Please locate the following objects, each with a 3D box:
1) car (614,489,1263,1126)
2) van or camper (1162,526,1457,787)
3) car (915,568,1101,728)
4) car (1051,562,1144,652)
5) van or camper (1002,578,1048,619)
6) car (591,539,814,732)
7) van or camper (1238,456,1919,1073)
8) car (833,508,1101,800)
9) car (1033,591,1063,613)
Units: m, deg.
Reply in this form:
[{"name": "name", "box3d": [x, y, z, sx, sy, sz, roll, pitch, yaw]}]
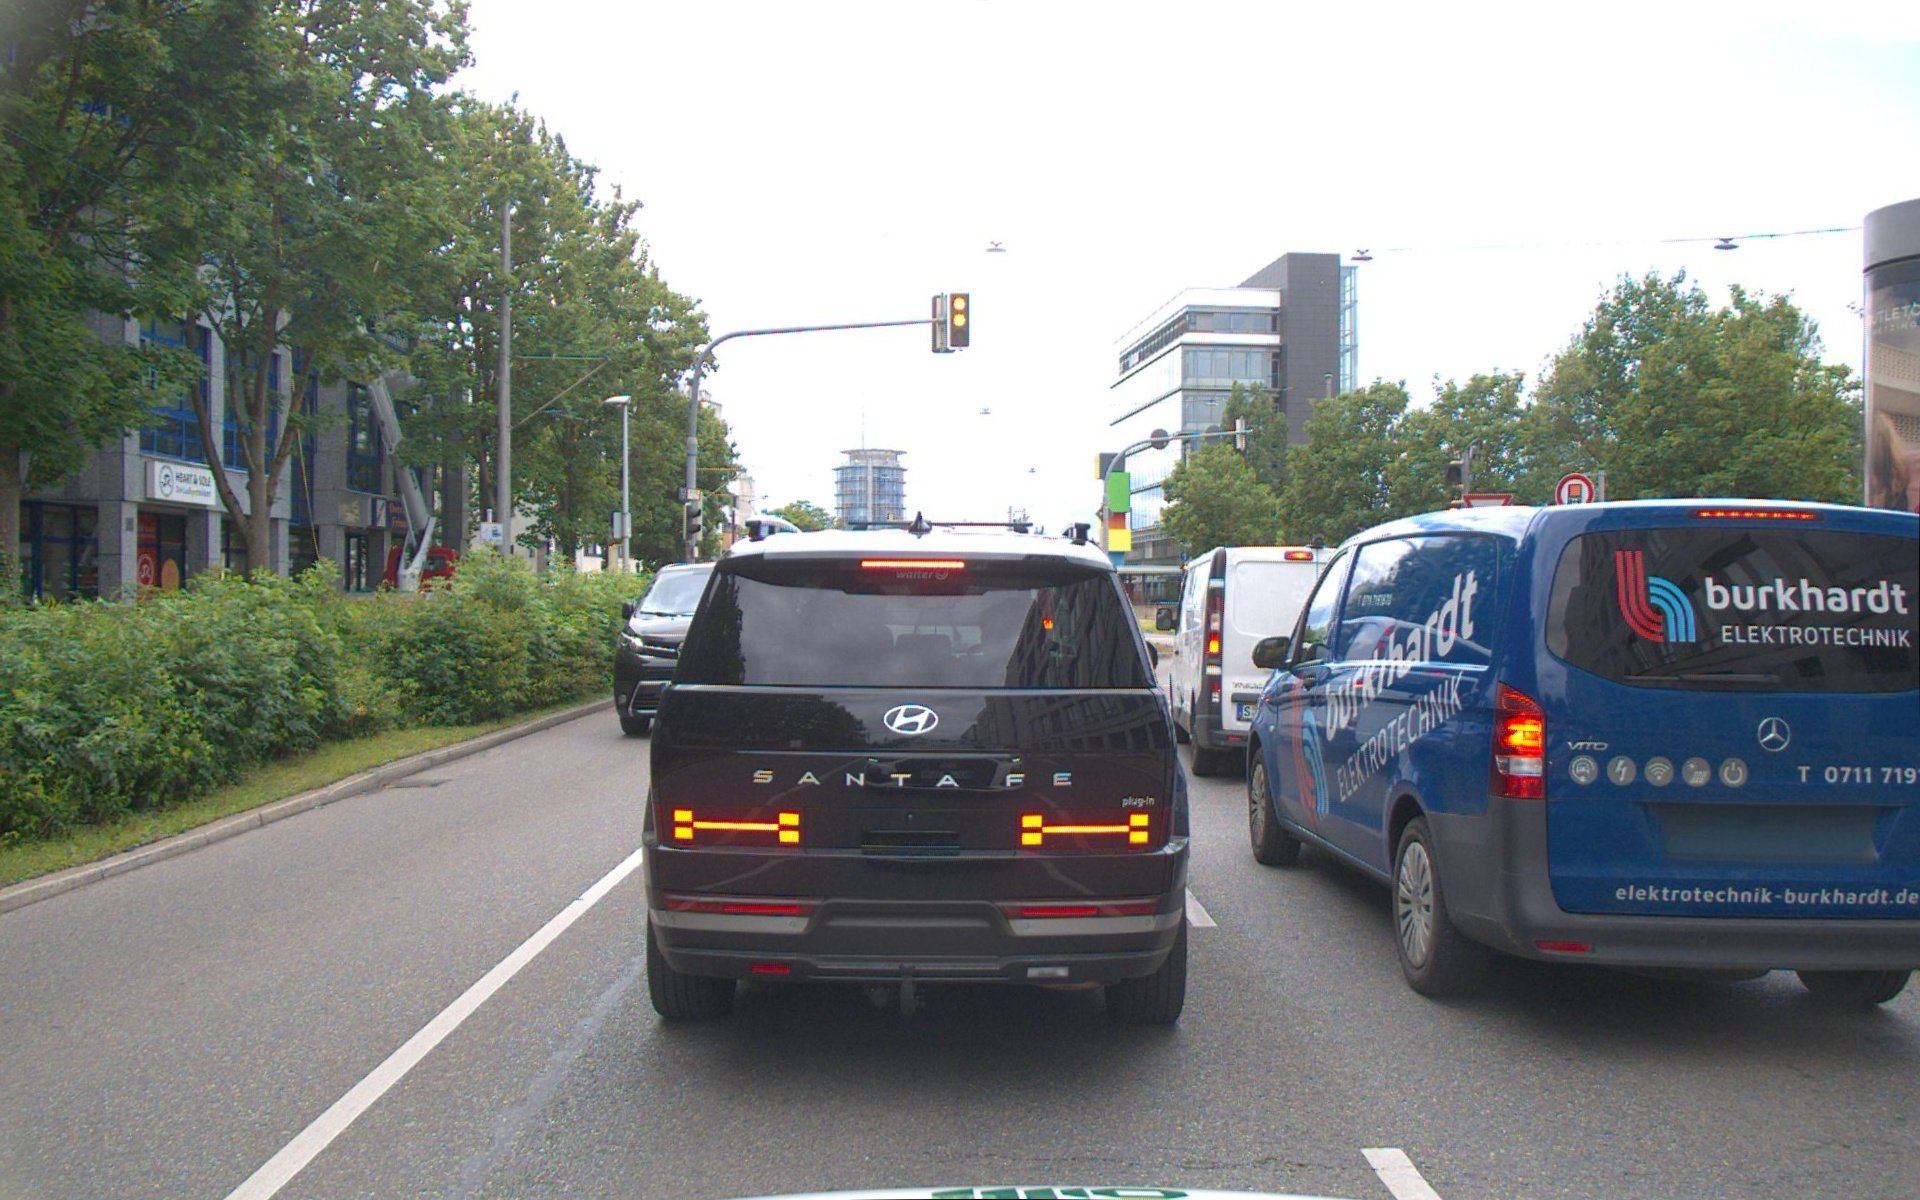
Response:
[{"name": "car", "box3d": [-0.082, 0.576, 6.611, 1.831, 1.791, 3.879, 0, 0, -1]}, {"name": "van or camper", "box3d": [3.059, 0.443, 15.482, 1.952, 2.049, 4.654, 1, 0, 2]}, {"name": "car", "box3d": [0.705, 0.543, 20.470, 1.738, 1.747, 4.342, 1, 0, 9]}, {"name": "car", "box3d": [3.296, 0.173, 40.285, 1.952, 2.049, 4.000, 1, 0, 0]}, {"name": "van or camper", "box3d": [4.298, -0.069, 108.075, 1.951, 2.591, 6.583, 1, 0, 12]}, {"name": "car", "box3d": [-2.915, 0.385, 19.743, 1.953, 1.982, 4.735, -1, 0, -1]}, {"name": "van or camper", "box3d": [2.665, 0.506, 7.747, 1.822, 1.944, 5.031, 0, 0, -1]}, {"name": "car", "box3d": [0.020, 0.367, 13.502, 1.876, 2.038, 3.879, 0, 0, -1]}, {"name": "car", "box3d": [7.010, 0.172, 131.913, 1.954, 1.713, 3.997, 1, 0, -3]}]
